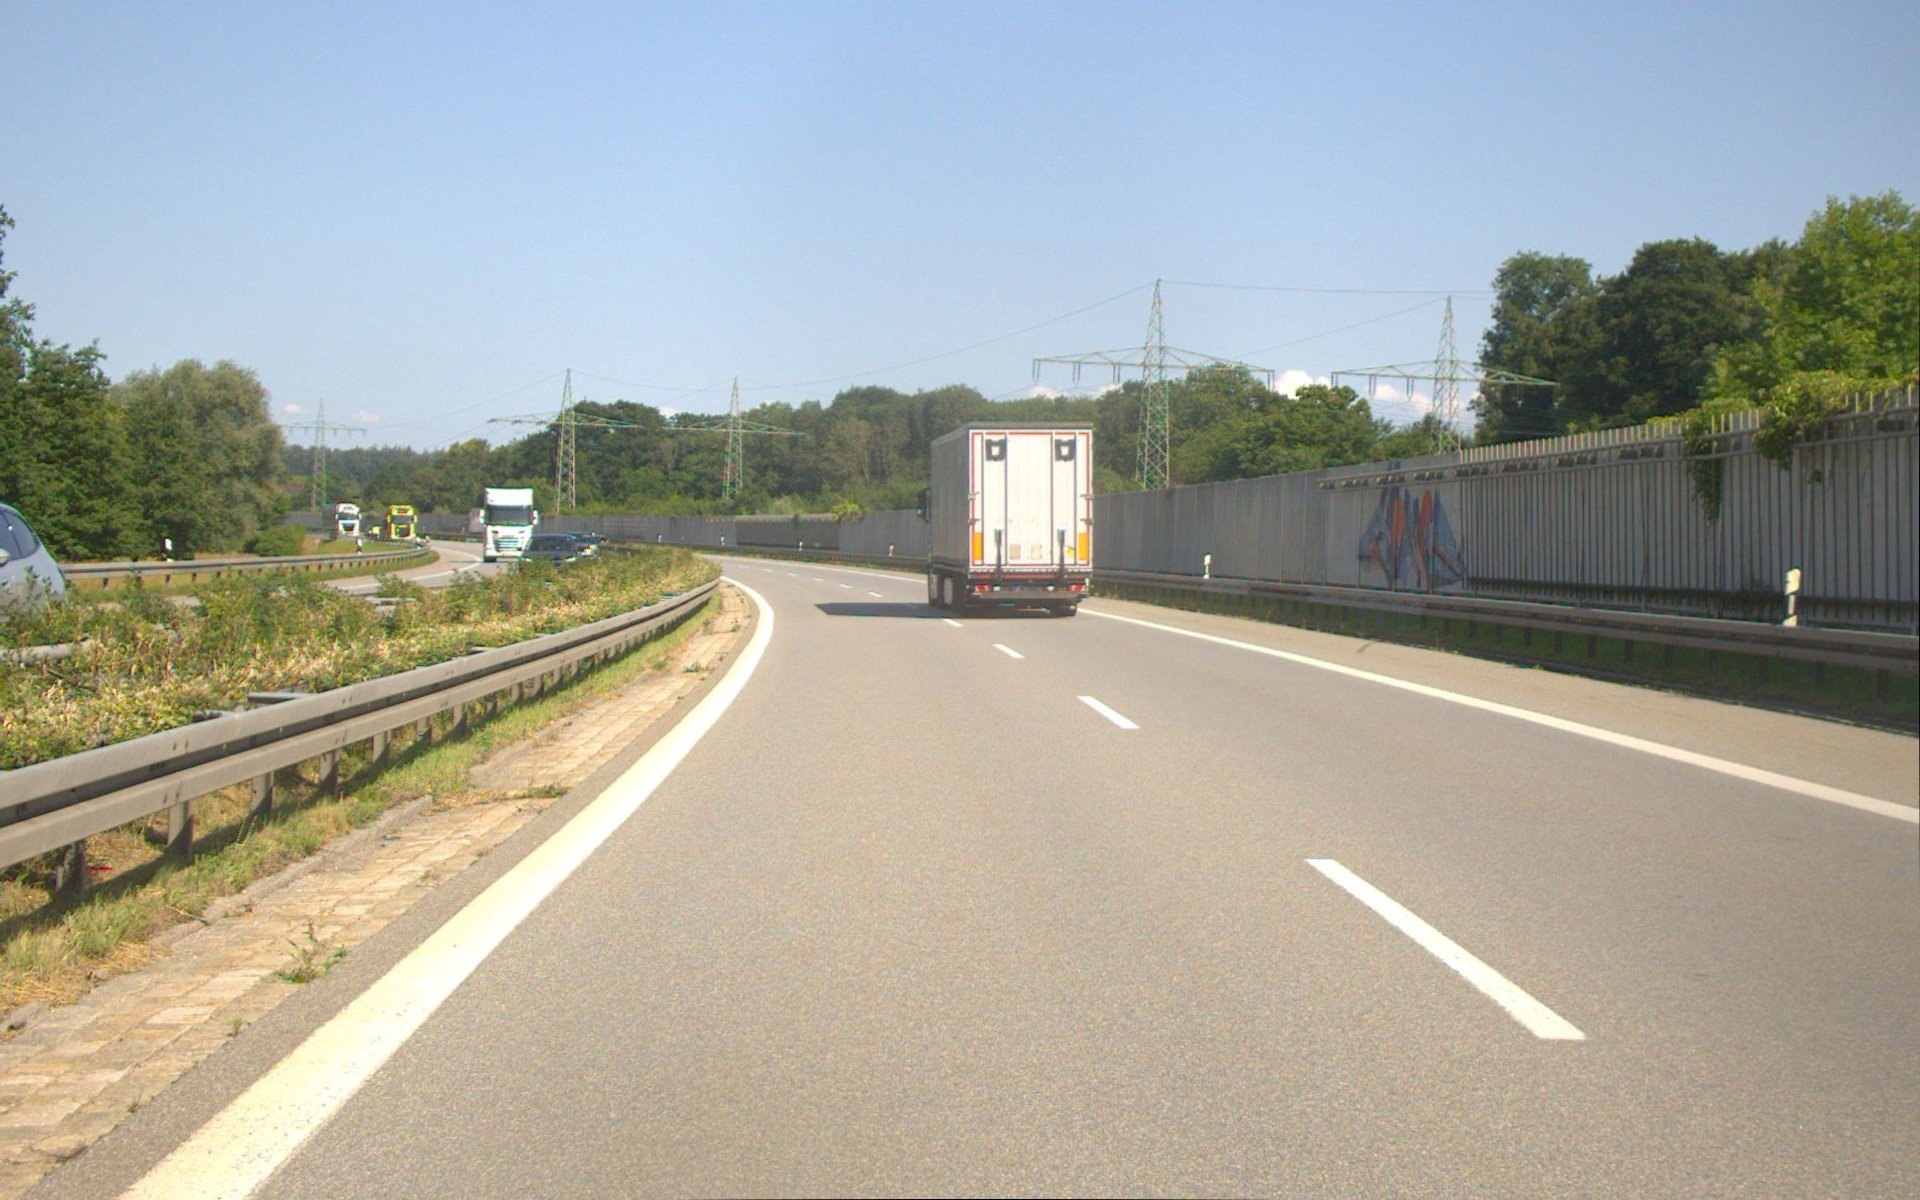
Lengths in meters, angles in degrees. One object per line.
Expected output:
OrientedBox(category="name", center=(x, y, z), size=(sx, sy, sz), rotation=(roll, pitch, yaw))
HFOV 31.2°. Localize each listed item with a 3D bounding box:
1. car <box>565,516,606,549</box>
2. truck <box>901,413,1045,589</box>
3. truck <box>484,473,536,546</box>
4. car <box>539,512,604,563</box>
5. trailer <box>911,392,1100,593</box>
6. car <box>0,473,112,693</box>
OrientedBox(category="car", center=(-18.425, -3.318, 169.233), size=(1.842, 1.601, 4.001), rotation=(0, 1, -3))
OrientedBox(category="truck", center=(0.252, -2.335, 82.087), size=(2.830, 3.998, 6.588), rotation=(0, 1, -5))
OrientedBox(category="truck", center=(-24.049, -4.808, 183.549), size=(2.624, 3.826, 6.812), rotation=(0, 1, -9))
OrientedBox(category="car", center=(-11.313, -1.840, 100.238), size=(1.659, 1.445, 4.248), rotation=(-1, 2, -4))
OrientedBox(category="trailer", center=(0.841, -2.300, 75.984), size=(2.884, 4.052, 12.423), rotation=(0, 1, -5))
OrientedBox(category="car", center=(-7.537, -0.131, 24.275), size=(1.931, 1.500, 4.794), rotation=(0, 1, 0))
